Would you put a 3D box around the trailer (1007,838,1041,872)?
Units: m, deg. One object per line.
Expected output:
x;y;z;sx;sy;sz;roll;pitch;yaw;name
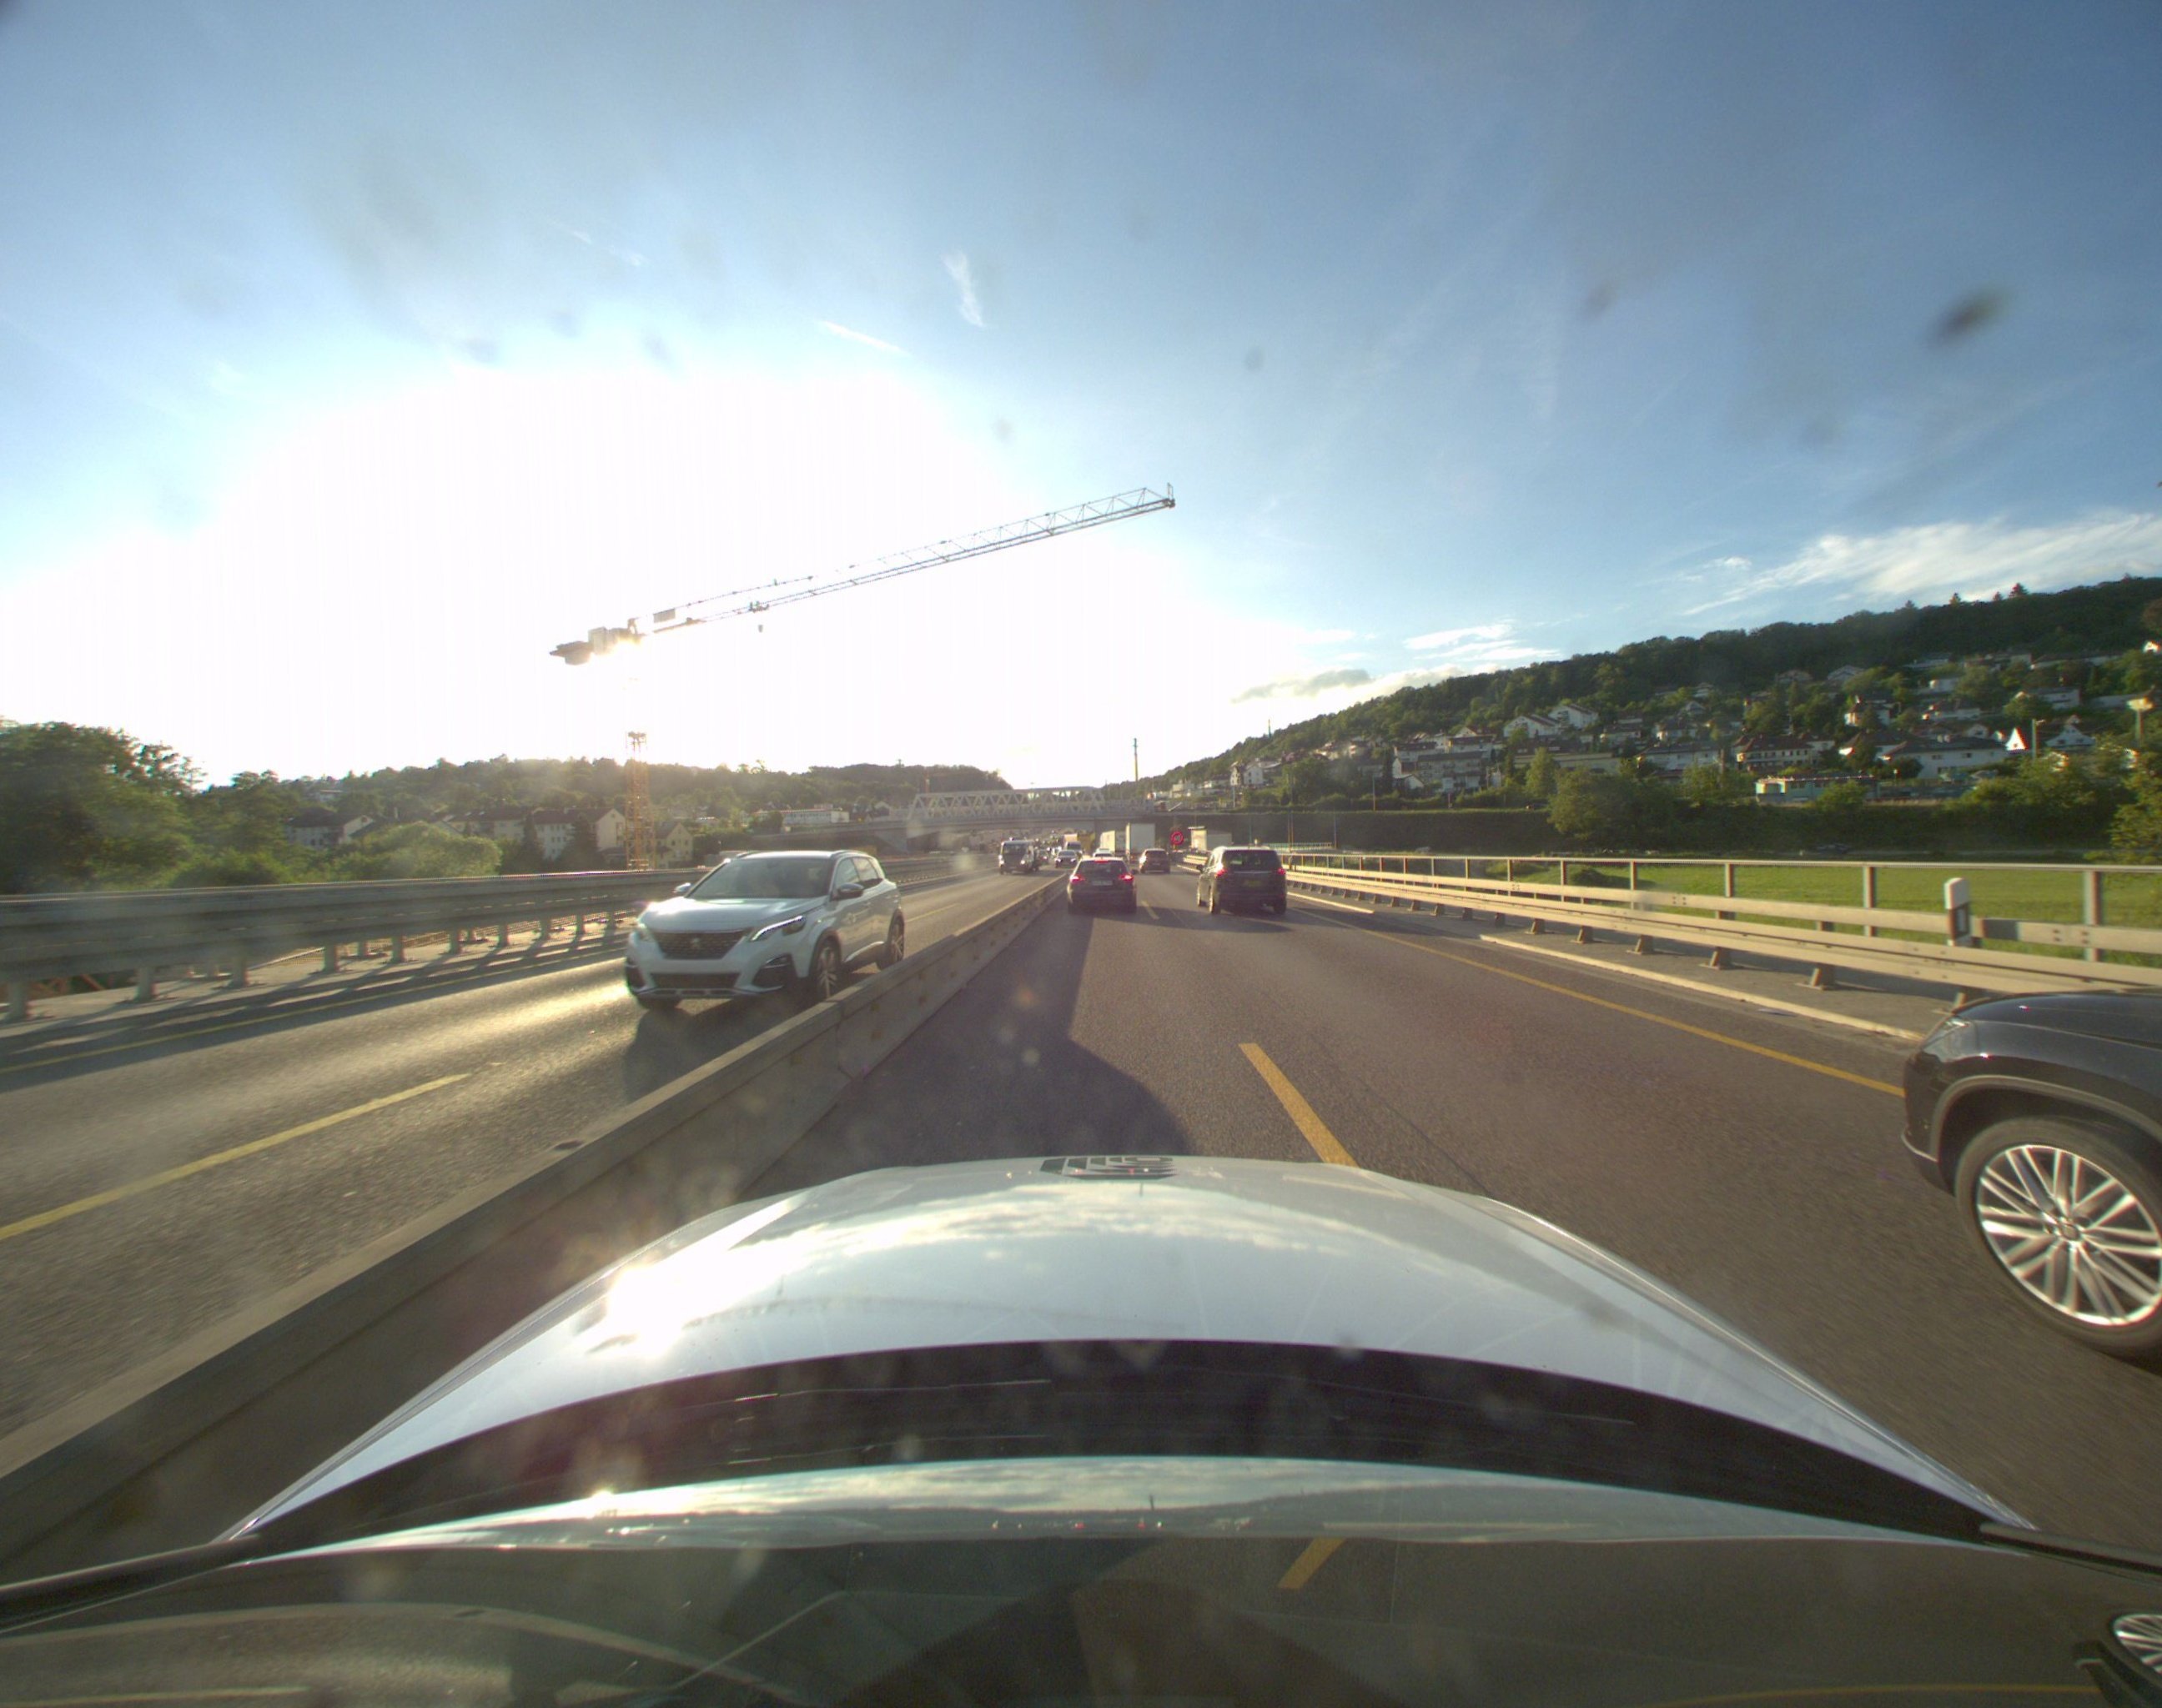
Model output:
-4.255;0.063;61.648;2.069;2.421;5.220;0;0;1;trailer

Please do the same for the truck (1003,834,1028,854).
-13.534;-1.982;166.939;2.938;3.890;10.202;-1;1;-18;truck

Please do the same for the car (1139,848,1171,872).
4.939;0.352;54.622;1.764;1.552;3.999;0;0;0;car

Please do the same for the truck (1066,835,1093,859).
-0.425;-1.523;159.031;3.886;4.497;13.818;0;1;-6;truck

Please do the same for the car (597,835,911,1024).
-3.360;0.677;9.327;1.831;1.640;4.001;-2;0;2;car

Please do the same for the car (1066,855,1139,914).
0.547;0.736;21.646;1.764;1.390;4.001;0;0;1;car

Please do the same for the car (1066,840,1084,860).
-0.738;-0.550;102.442;2.066;2.458;6.268;0;0;1;car

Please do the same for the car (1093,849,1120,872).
1.704;0.445;55.952;1.759;1.486;4.000;0;0;0;car

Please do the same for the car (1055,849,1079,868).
-1.215;0.358;71.531;1.987;1.530;5.780;-1;0;-1;car

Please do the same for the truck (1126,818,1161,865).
6.446;-1.251;86.131;3.371;4.498;15.280;0;0;3;truck

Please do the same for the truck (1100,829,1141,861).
5.729;-1.343;121.957;3.885;4.498;15.236;0;0;-6;truck

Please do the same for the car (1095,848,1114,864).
2.202;0.153;78.519;1.759;1.486;4.001;0;0;1;car

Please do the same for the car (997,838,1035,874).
-4.400;0.114;56.082;1.986;2.323;5.936;0;0;1;car

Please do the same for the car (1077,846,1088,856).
0.190;-0.513;134.119;1.787;1.539;4.365;-1;0;-1;car

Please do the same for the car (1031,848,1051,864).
-4.123;0.186;84.415;1.610;1.552;4.090;-1;0;2;car

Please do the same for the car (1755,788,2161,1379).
3.817;0.608;1.049;1.868;1.599;4.967;-1;0;1;car

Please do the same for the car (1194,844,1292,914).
4.069;0.564;21.171;1.807;1.632;4.413;0;0;2;car
